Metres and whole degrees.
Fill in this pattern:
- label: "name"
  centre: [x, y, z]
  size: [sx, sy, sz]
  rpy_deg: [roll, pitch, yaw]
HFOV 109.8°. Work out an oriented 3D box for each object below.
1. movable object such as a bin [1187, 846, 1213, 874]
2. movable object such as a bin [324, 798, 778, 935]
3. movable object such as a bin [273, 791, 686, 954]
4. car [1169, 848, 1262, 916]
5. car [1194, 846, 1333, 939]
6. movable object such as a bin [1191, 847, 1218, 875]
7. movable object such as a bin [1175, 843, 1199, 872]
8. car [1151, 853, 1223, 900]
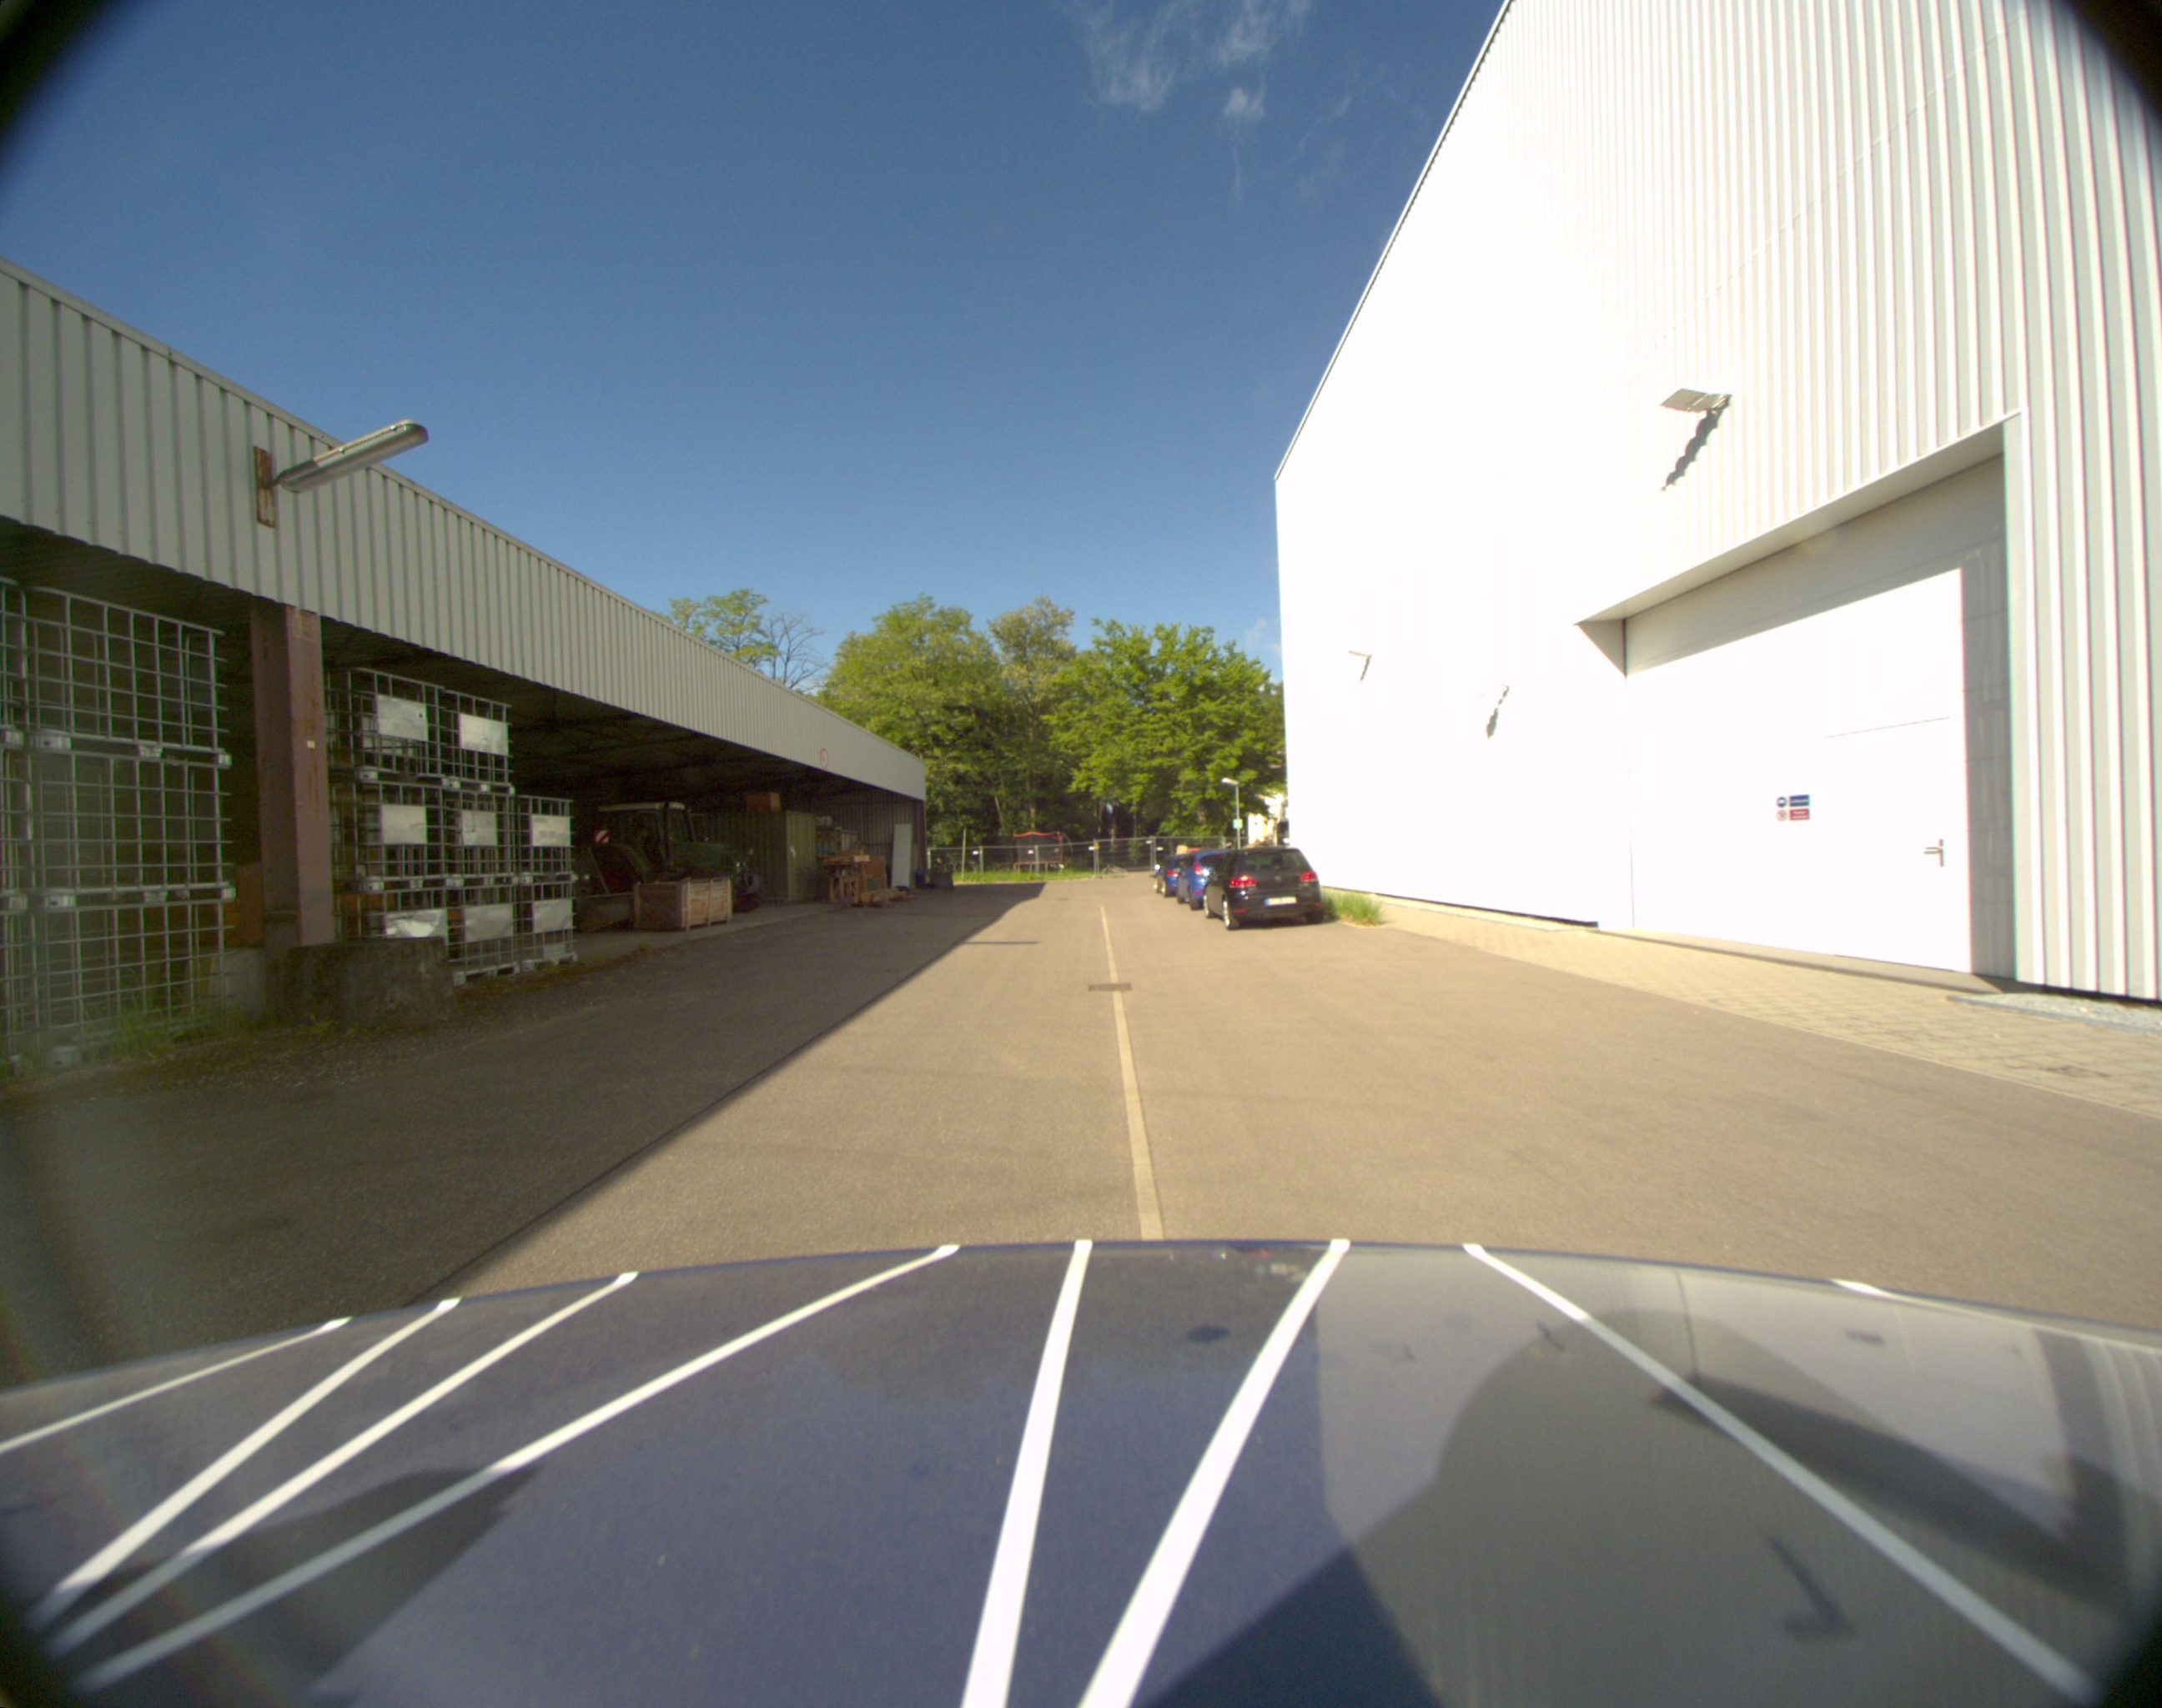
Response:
- label: "movable object such as a bin"
  centre: [6.618, 0.324, 42.317]
  size: [1.093, 1.431, 1.230]
  rpy_deg: [-4, 2, -5]
- label: "movable object such as a bin"
  centre: [-12.994, 0.290, 19.260]
  size: [9.214, 2.893, 3.212]
  rpy_deg: [-2, 1, 2]
- label: "movable object such as a bin"
  centre: [-12.234, 0.353, 15.945]
  size: [6.200, 2.893, 3.016]
  rpy_deg: [-2, 1, 2]
- label: "car"
  centre: [3.429, 0.663, 20.089]
  size: [1.635, 1.491, 4.094]
  rpy_deg: [-5, 0, 0]
- label: "car"
  centre: [3.454, 0.649, 15.192]
  size: [1.759, 1.491, 4.294]
  rpy_deg: [-4, 0, 1]
- label: "movable object such as a bin"
  centre: [6.640, 0.368, 40.984]
  size: [1.093, 1.424, 1.230]
  rpy_deg: [-4, 2, -5]
- label: "movable object such as a bin"
  centre: [6.162, 0.182, 44.216]
  size: [1.093, 1.588, 1.230]
  rpy_deg: [-3, 3, -5]
- label: "car"
  centre: [3.468, 0.680, 25.537]
  size: [1.778, 1.353, 4.053]
  rpy_deg: [-3, 0, 0]
